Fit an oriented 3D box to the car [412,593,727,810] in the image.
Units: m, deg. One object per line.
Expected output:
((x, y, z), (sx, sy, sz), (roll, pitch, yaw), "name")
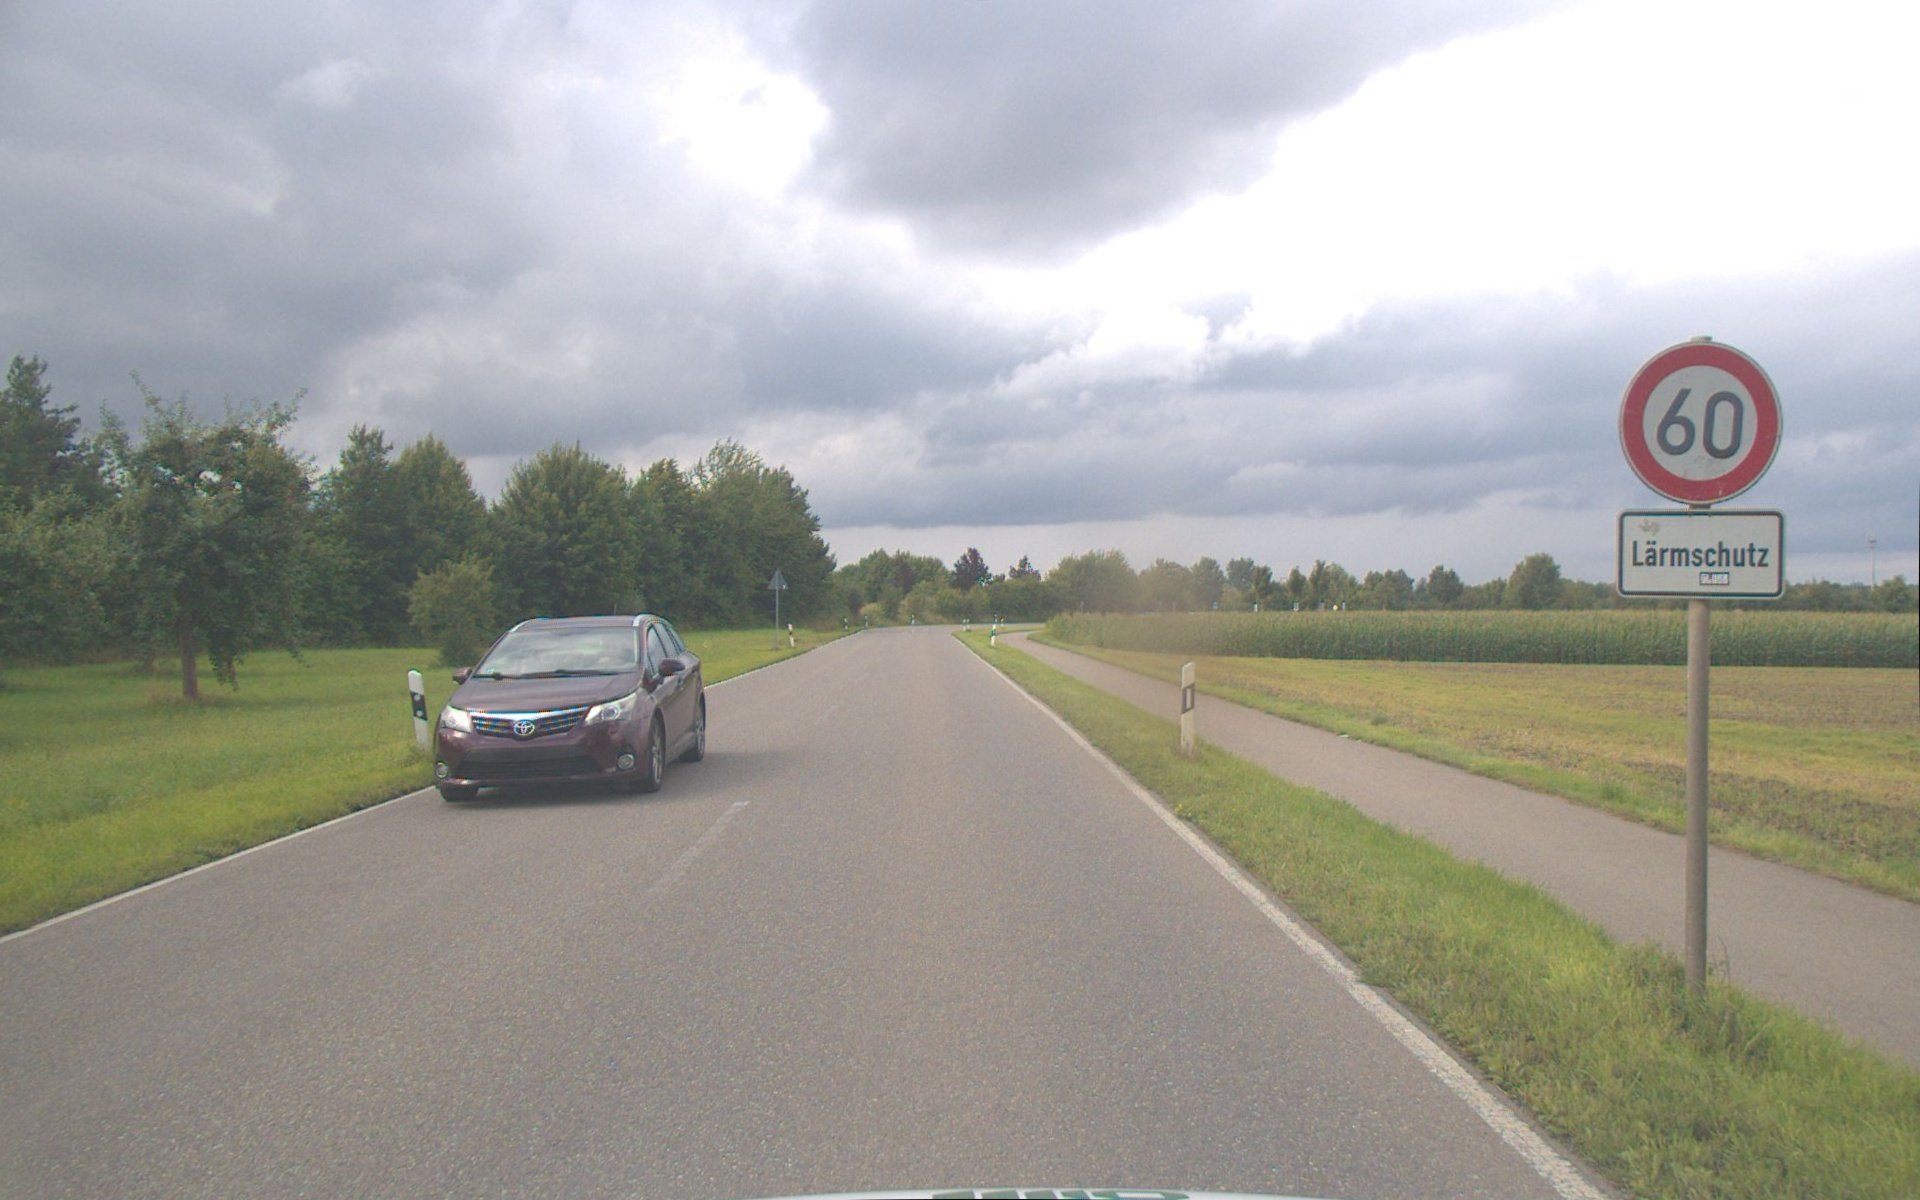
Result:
((-3.264, 0.772, 14.689), (1.826, 1.579, 4.181), (-2, 0, -1), "car")
